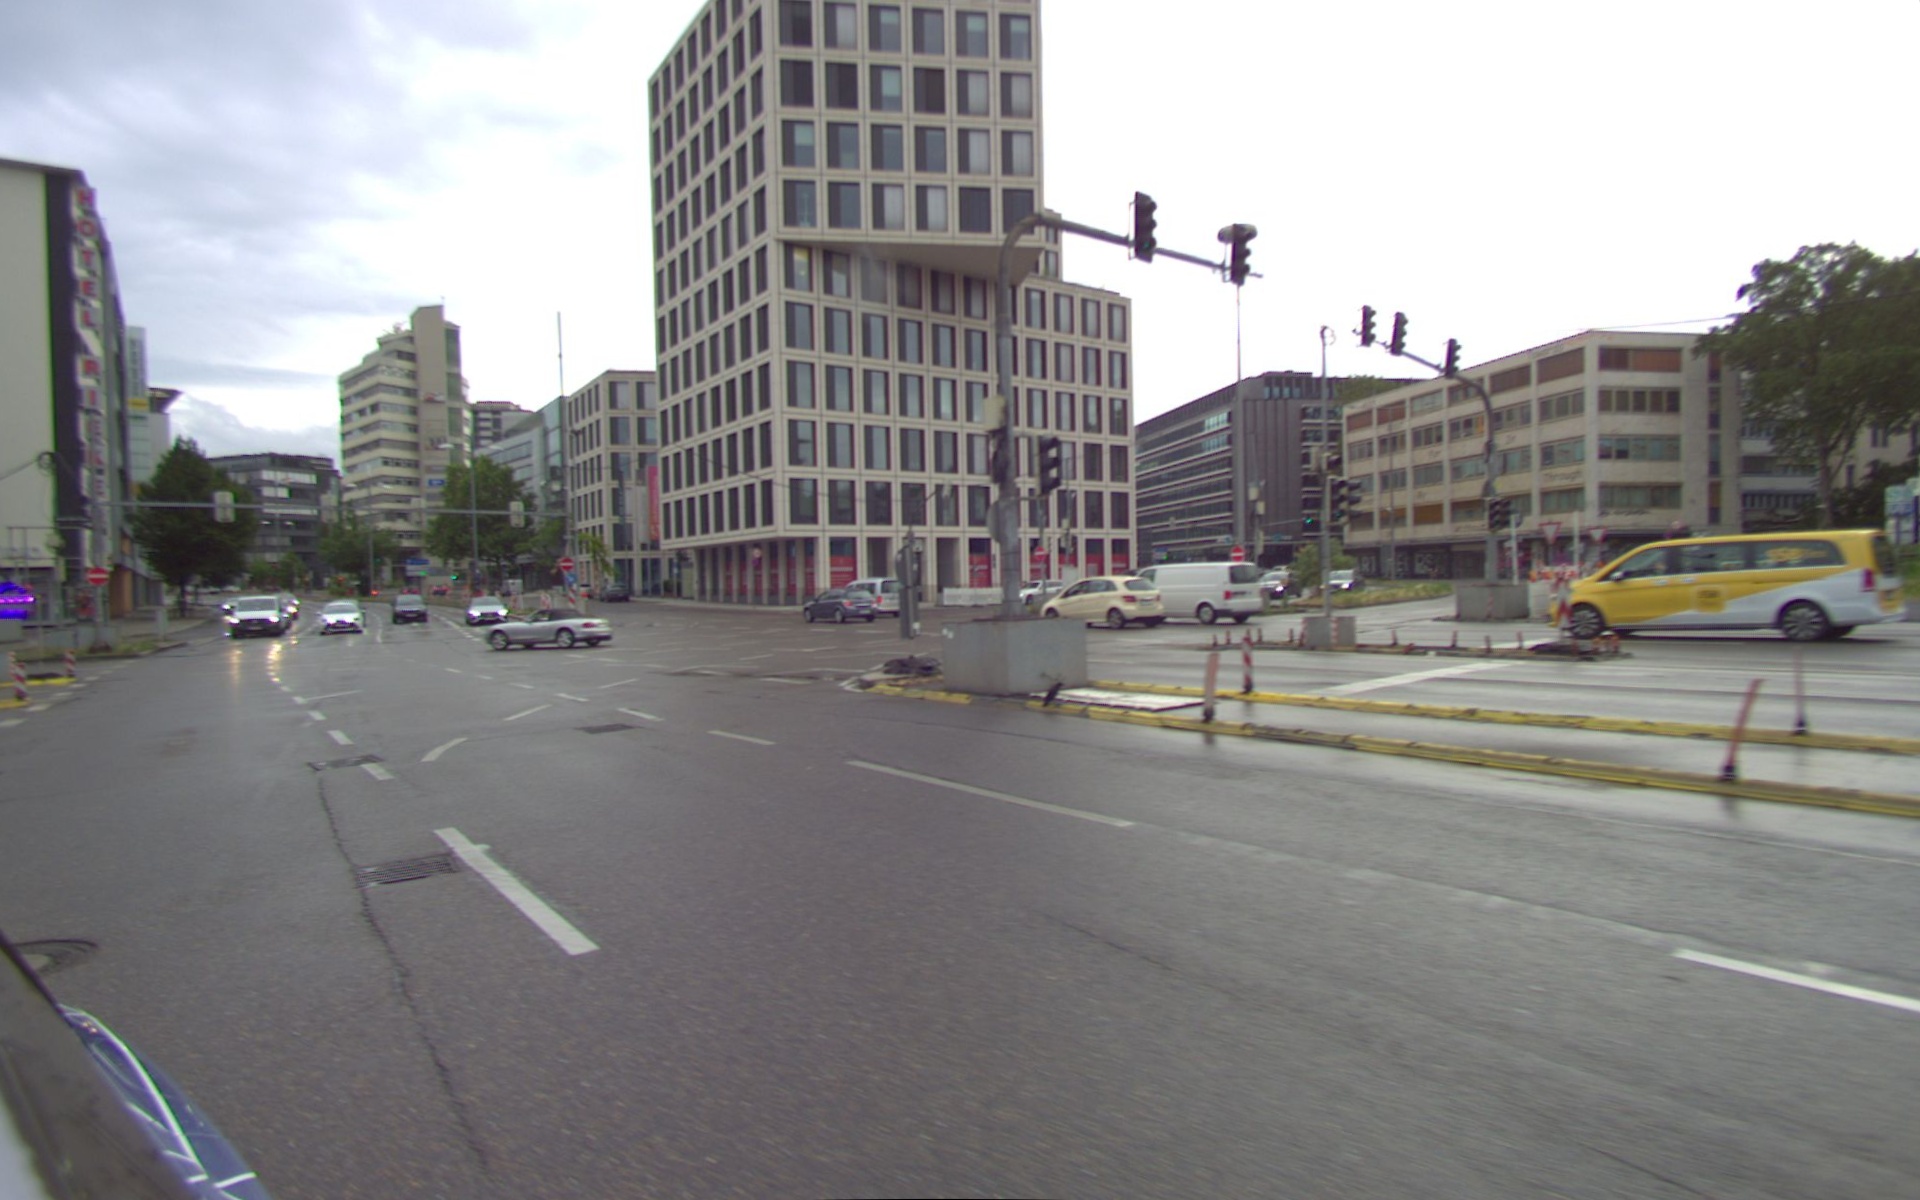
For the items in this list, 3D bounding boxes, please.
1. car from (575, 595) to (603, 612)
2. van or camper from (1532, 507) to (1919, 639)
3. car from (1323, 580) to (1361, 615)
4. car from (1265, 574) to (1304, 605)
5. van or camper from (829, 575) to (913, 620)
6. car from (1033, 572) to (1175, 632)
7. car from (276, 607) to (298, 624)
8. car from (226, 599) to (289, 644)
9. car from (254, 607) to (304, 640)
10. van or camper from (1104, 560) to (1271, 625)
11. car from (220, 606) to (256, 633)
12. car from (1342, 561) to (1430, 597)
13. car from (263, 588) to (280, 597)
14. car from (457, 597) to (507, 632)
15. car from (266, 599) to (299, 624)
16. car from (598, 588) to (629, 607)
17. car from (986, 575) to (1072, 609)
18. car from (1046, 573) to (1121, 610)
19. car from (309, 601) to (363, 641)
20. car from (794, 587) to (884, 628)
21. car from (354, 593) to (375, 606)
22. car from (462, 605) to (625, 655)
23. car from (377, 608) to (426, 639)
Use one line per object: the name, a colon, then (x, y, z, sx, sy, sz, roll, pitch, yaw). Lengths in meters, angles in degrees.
car: (-35.961, 0.343, 98.096, 1.836, 1.534, 4.012, -2, 1, -31)
van or camper: (14.101, -0.448, 18.769, 2.210, 2.069, 5.621, -3, 1, -36)
car: (19.938, -0.163, 52.761, 1.685, 1.710, 3.970, -2, 0, 22)
car: (17.536, -0.591, 54.576, 1.685, 1.569, 3.970, -2, 0, 22)
van or camper: (-4.268, -0.105, 48.211, 1.822, 1.993, 4.263, -3, 1, -39)
car: (4.442, 0.072, 31.749, 1.818, 1.686, 4.390, -3, 1, -36)
car: (-62.857, 1.408, 94.490, 1.645, 1.495, 3.494, -3, 1, -35)
car: (-33.102, 0.987, 47.794, 2.052, 1.918, 5.100, -3, 1, -31)
car: (-36.349, 1.230, 53.988, 1.985, 1.610, 4.674, -3, 1, -36)
van or camper: (7.287, -0.209, 32.942, 1.858, 1.908, 5.222, -3, 1, -39)
car: (-57.096, 1.499, 80.111, 1.891, 2.029, 4.012, -3, 1, -30)
car: (22.344, -1.112, 53.141, 3.934, 1.741, 1.742, -2, 0, -12)
car: (-134.459, -1.389, 197.636, 4.180, 1.610, 1.826, -1, 1, 42)
car: (-24.860, 0.720, 52.594, 1.984, 1.610, 4.678, -3, 1, -29)
car: (-43.921, 0.754, 65.571, 1.645, 1.495, 3.494, -3, 1, -35)
car: (-30.104, -0.200, 87.934, 1.835, 1.534, 4.012, -2, 1, -29)
car: (4.049, -0.470, 58.985, 4.736, 1.766, 2.233, -3, 1, -39)
car: (6.901, -0.489, 56.514, 3.934, 1.829, 1.810, -3, 2, -35)
car: (-29.876, 0.971, 48.395, 1.985, 1.751, 4.676, -3, 1, -34)
car: (-5.226, 0.309, 43.233, 1.822, 1.610, 4.188, -3, 1, -39)
car: (-82.021, -0.090, 139.345, 1.822, 1.610, 4.188, -3, 1, -39)
car: (-12.703, 0.914, 30.922, 4.486, 1.319, 1.636, -2, 1, 14)
car: (-31.669, 1.295, 57.321, 1.985, 1.610, 4.676, -3, 1, -34)
